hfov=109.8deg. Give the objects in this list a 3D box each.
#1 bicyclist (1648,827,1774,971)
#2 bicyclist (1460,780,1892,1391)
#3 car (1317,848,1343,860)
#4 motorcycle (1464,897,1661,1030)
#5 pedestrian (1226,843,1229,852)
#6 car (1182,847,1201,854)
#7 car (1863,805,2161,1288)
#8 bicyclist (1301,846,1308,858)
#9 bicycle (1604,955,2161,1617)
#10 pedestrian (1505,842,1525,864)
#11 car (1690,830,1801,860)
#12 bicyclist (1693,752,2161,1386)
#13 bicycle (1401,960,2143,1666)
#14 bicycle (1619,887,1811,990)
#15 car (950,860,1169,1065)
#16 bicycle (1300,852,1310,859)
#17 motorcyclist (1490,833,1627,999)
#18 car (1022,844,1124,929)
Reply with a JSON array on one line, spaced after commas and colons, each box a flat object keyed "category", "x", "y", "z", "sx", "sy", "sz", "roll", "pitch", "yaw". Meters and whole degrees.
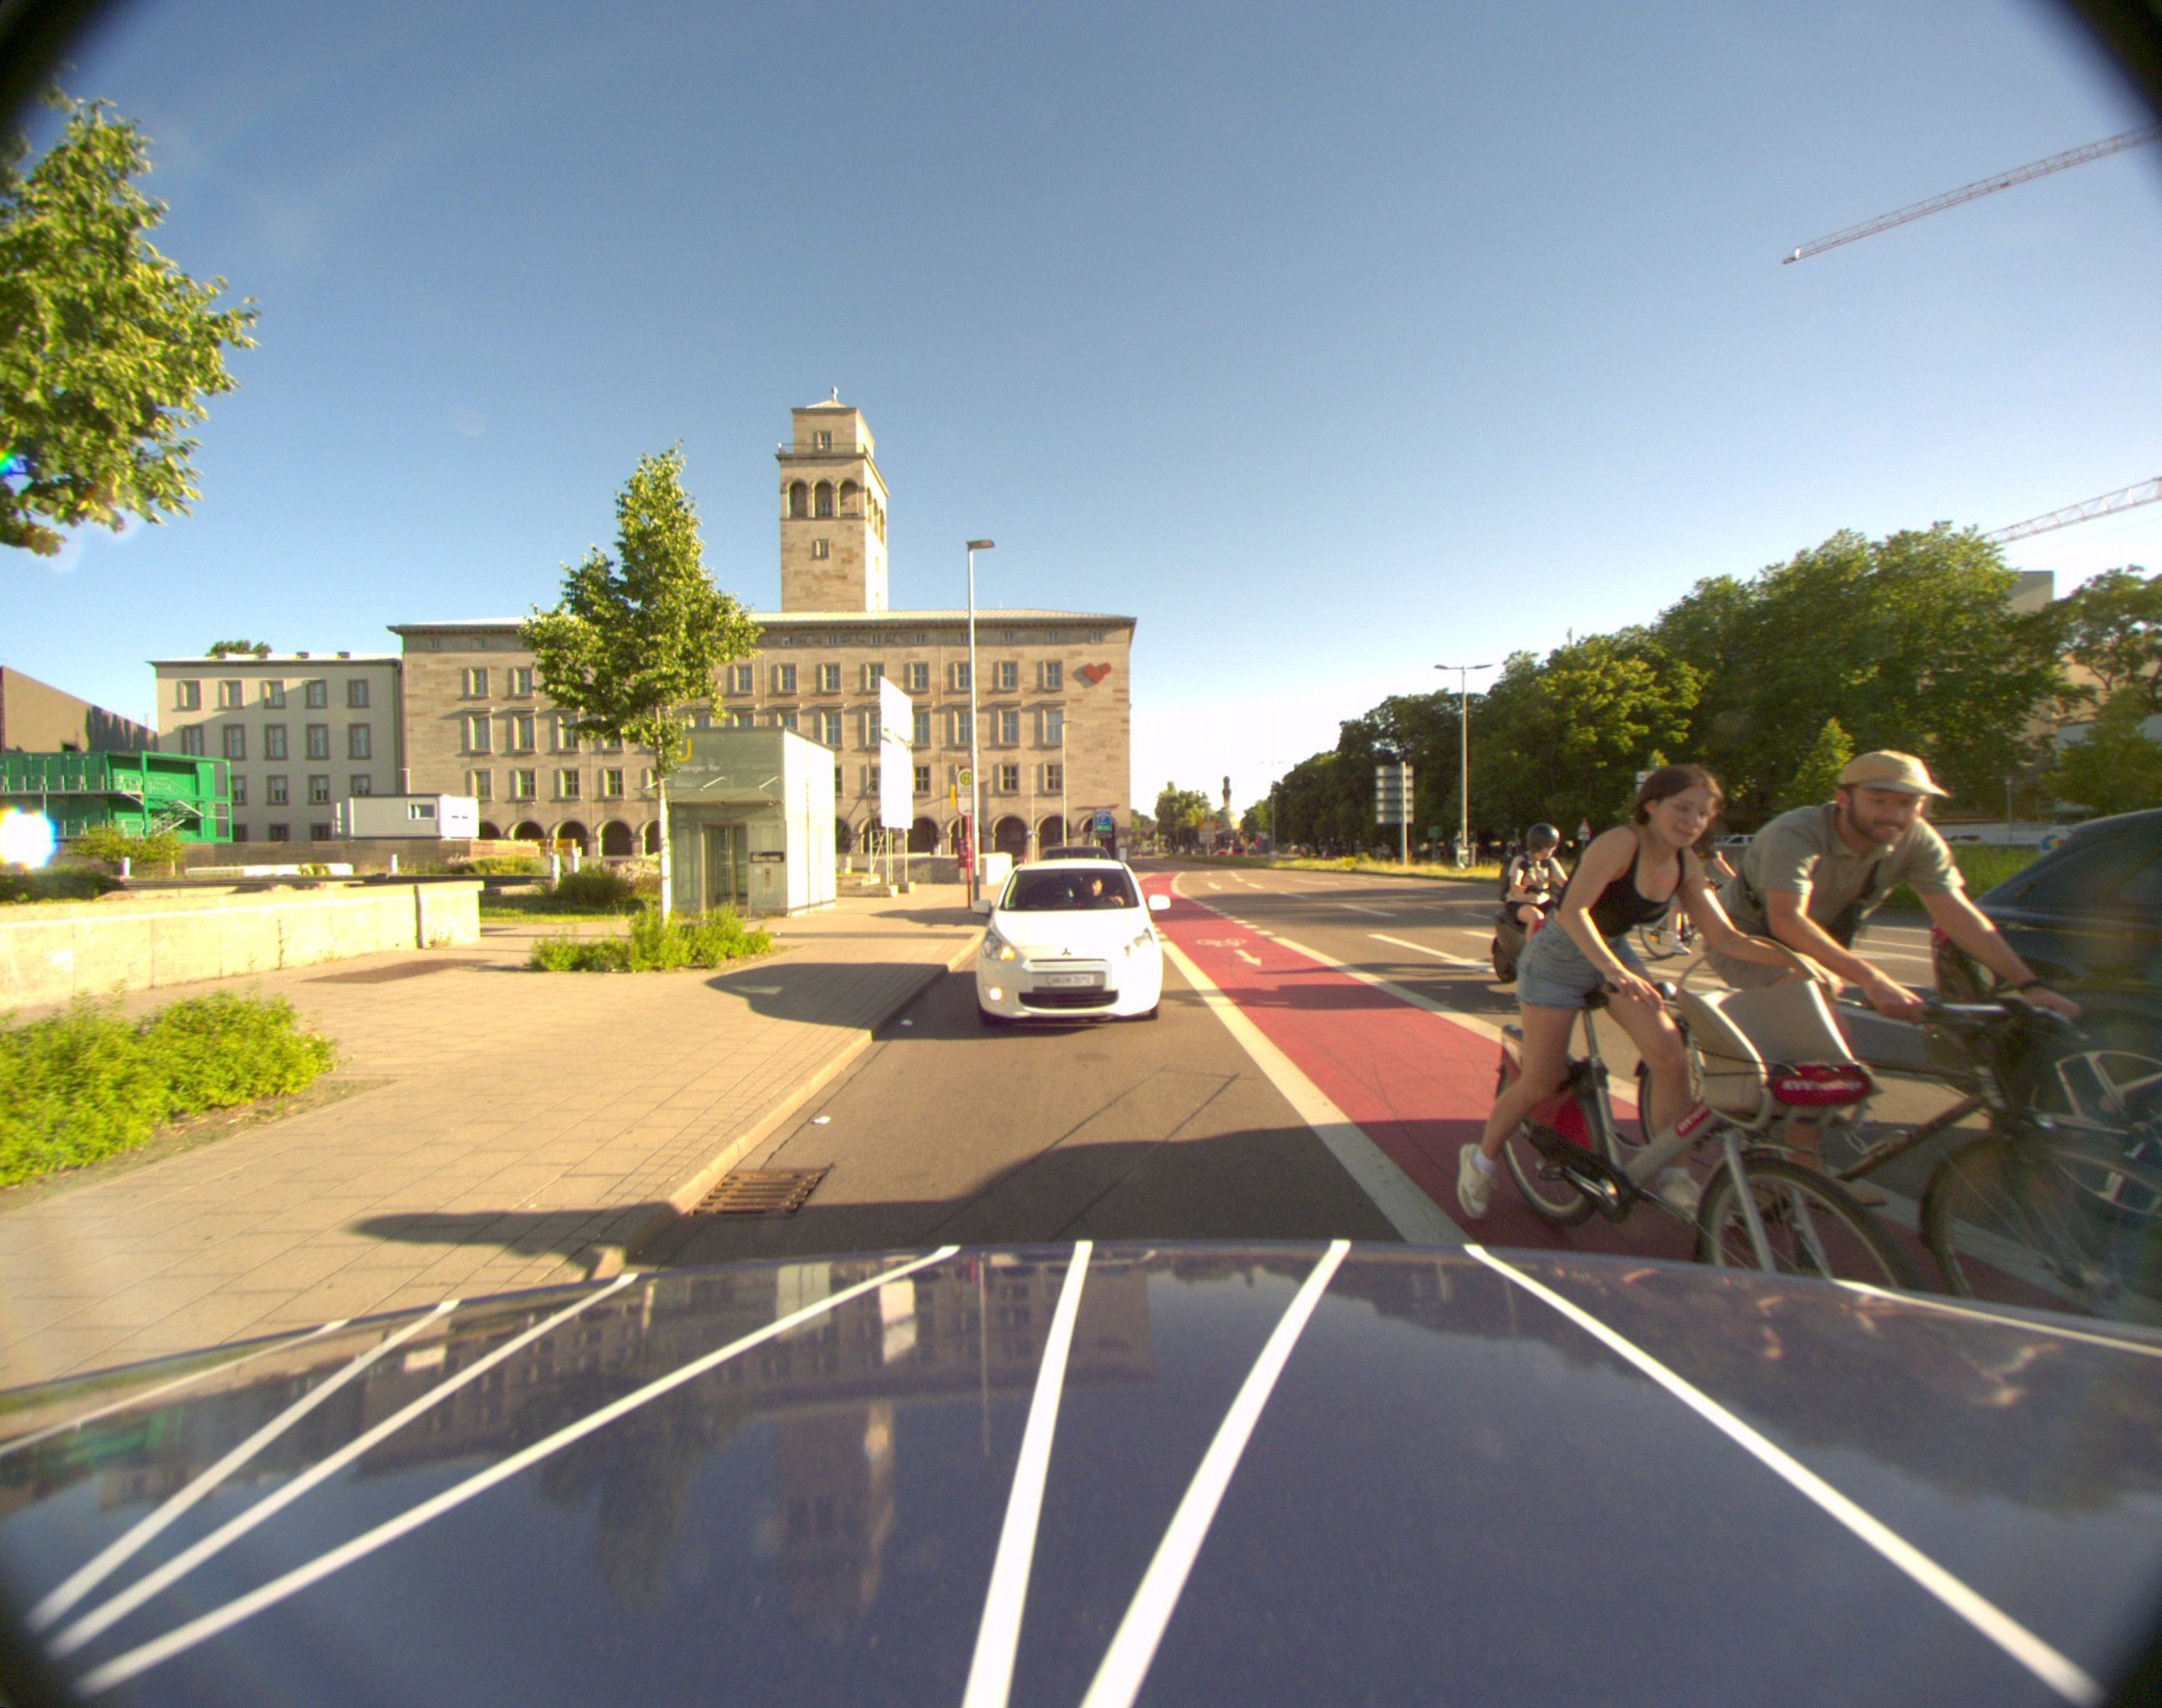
[{"category": "bicyclist", "x": 6.954, "y": 0.467, "z": 8.432, "sx": 0.624, "sy": 1.494, "sz": 0.938, "roll": -2, "pitch": 1, "yaw": 3}, {"category": "bicyclist", "x": 1.701, "y": 0.581, "z": 2.329, "sx": 0.652, "sy": 1.534, "sz": 0.847, "roll": -1, "pitch": 1, "yaw": -1}, {"category": "car", "x": 26.666, "y": -0.016, "z": 81.482, "sx": 1.618, "sy": 1.126, "sz": 3.770, "roll": -2, "pitch": 1, "yaw": 0}, {"category": "motorcycle", "x": 4.523, "y": 0.977, "z": 7.342, "sx": 0.756, "sy": 0.963, "sz": 1.960, "roll": -2, "pitch": 1, "yaw": 4}, {"category": "pedestrian", "x": 30.234, "y": -1.367, "z": 156.994, "sx": 0.525, "sy": 2.002, "sz": 0.594, "roll": -1, "pitch": 1, "yaw": -1}, {"category": "car", "x": 23.767, "y": -0.707, "z": 163.207, "sx": 3.767, "sy": 1.443, "sz": 1.619, "roll": -2, "pitch": 1, "yaw": 3}, {"category": "car", "x": 4.804, "y": 0.659, "z": 1.191, "sx": 2.200, "sy": 1.652, "sz": 4.791, "roll": -1, "pitch": 1, "yaw": -1}, {"category": "bicyclist", "x": 25.644, "y": -0.243, "z": 87.092, "sx": 0.617, "sy": 1.359, "sz": 0.768, "roll": -1, "pitch": 1, "yaw": 2}, {"category": "bicycle", "x": 2.538, "y": 1.000, "z": 2.336, "sx": 0.625, "sy": 1.110, "sz": 1.816, "roll": -1, "pitch": 1, "yaw": 1}, {"category": "pedestrian", "x": 34.941, "y": -0.093, "z": 61.216, "sx": 0.997, "sy": 1.773, "sz": 0.964, "roll": -2, "pitch": 1, "yaw": 2}, {"category": "car", "x": 43.335, "y": -0.572, "z": 49.635, "sx": 5.325, "sy": 1.880, "sz": 2.000, "roll": -1, "pitch": 0, "yaw": 3}, {"category": "bicyclist", "x": 2.539, "y": 0.531, "z": 2.315, "sx": 0.625, "sy": 1.566, "sz": 0.894, "roll": -1, "pitch": 1, "yaw": 1}, {"category": "bicycle", "x": 1.709, "y": 1.014, "z": 2.365, "sx": 0.652, "sy": 1.088, "sz": 1.800, "roll": -1, "pitch": 1, "yaw": -1}, {"category": "bicycle", "x": 6.968, "y": 0.887, "z": 8.496, "sx": 0.624, "sy": 0.903, "sz": 1.910, "roll": -2, "pitch": 1, "yaw": 3}, {"category": "car", "x": -0.108, "y": 0.871, "z": 7.951, "sx": 1.660, "sy": 1.463, "sz": 3.969, "roll": -3, "pitch": 1, "yaw": 2}, {"category": "bicycle", "x": 25.651, "y": 0.202, "z": 87.107, "sx": 0.617, "sy": 0.800, "sz": 1.980, "roll": -1, "pitch": 1, "yaw": 2}, {"category": "motorcyclist", "x": 4.507, "y": 0.554, "z": 7.237, "sx": 0.756, "sy": 1.475, "sz": 0.882, "roll": -2, "pitch": 1, "yaw": 4}, {"category": "car", "x": -0.133, "y": 0.620, "z": 17.463, "sx": 1.998, "sy": 1.652, "sz": 4.791, "roll": -1, "pitch": 1, "yaw": 1}]
